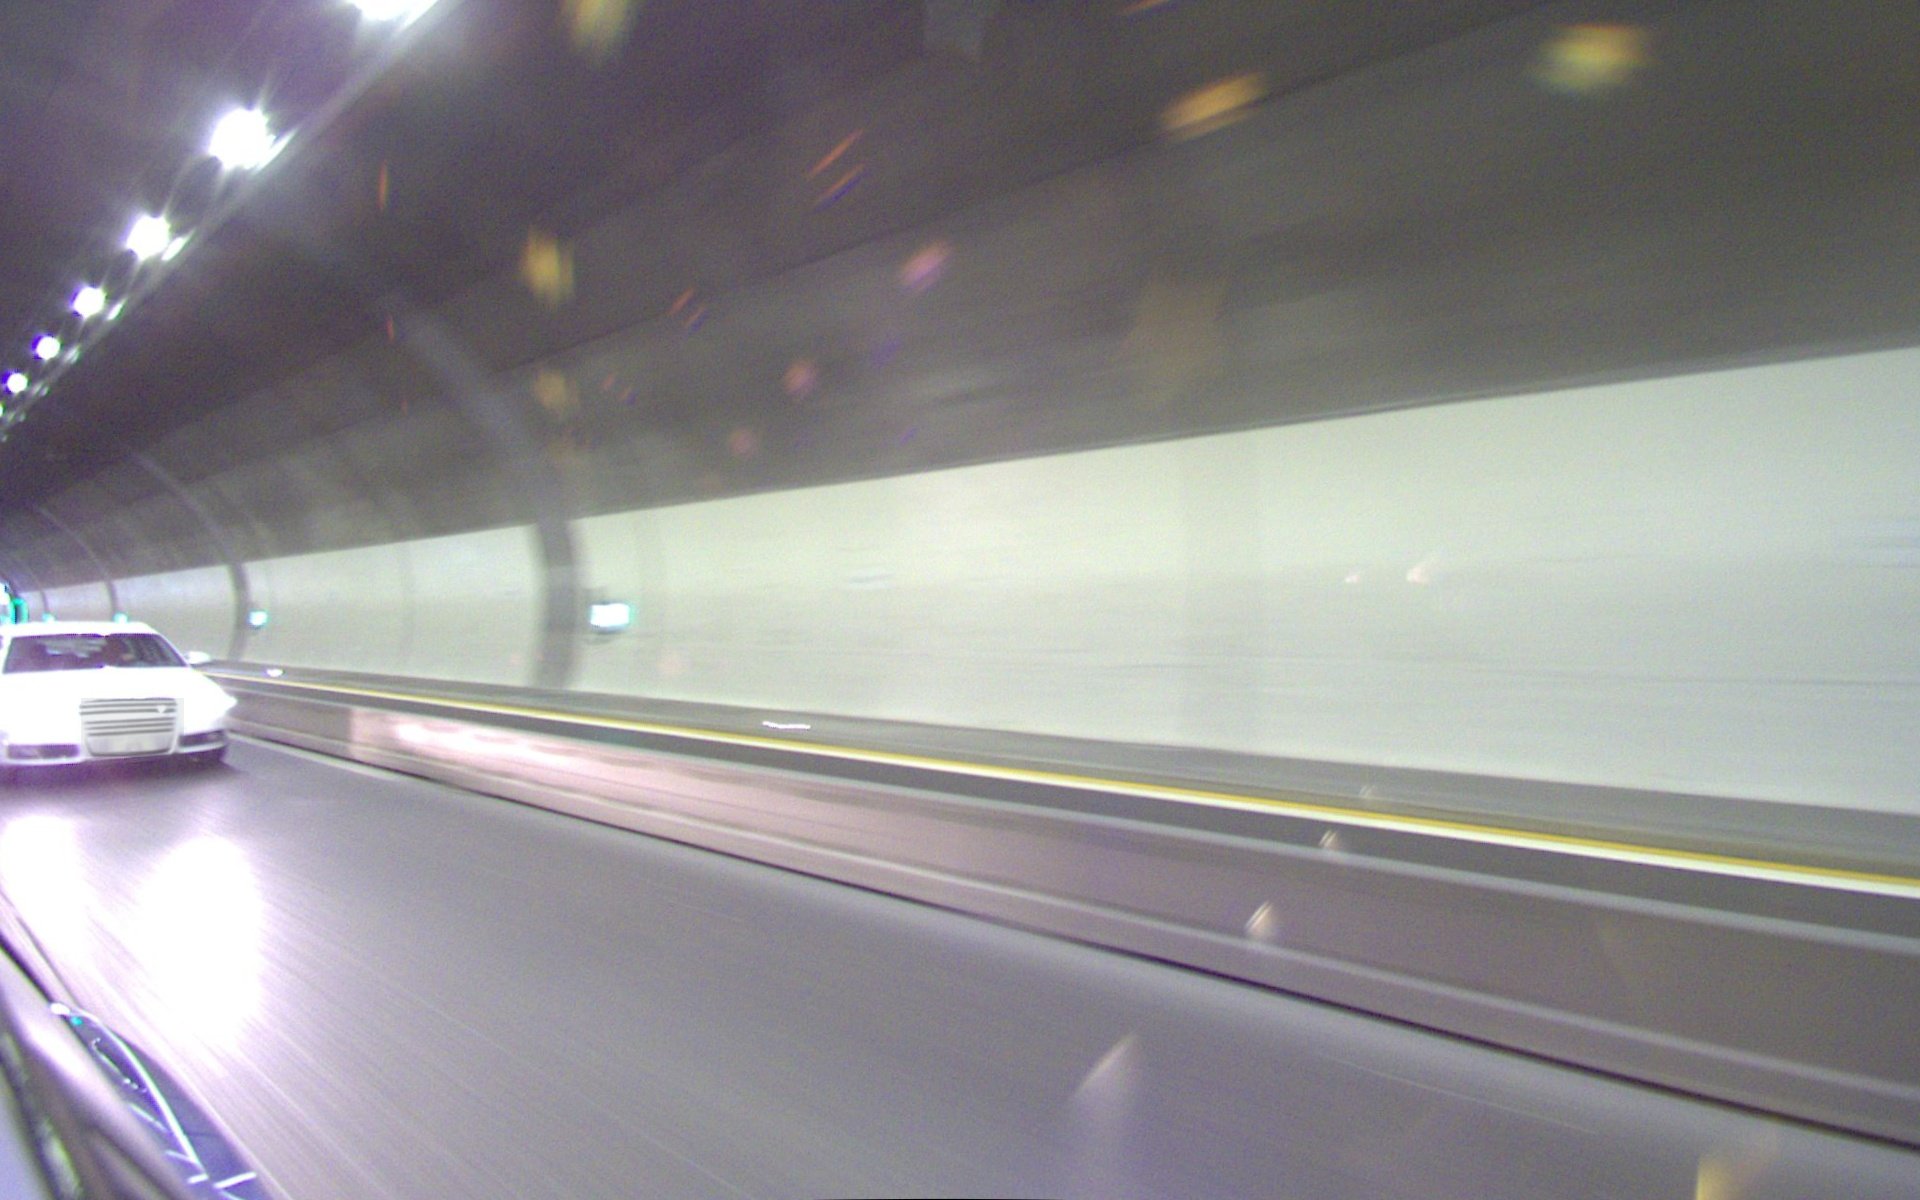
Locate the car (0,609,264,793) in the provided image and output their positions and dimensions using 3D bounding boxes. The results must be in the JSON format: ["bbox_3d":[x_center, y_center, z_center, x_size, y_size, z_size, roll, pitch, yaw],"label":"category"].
[{"bbox_3d":[-9.153,0.901,10.569,4.940,1.496,1.884,-2,-2,40],"label":"car"}]
